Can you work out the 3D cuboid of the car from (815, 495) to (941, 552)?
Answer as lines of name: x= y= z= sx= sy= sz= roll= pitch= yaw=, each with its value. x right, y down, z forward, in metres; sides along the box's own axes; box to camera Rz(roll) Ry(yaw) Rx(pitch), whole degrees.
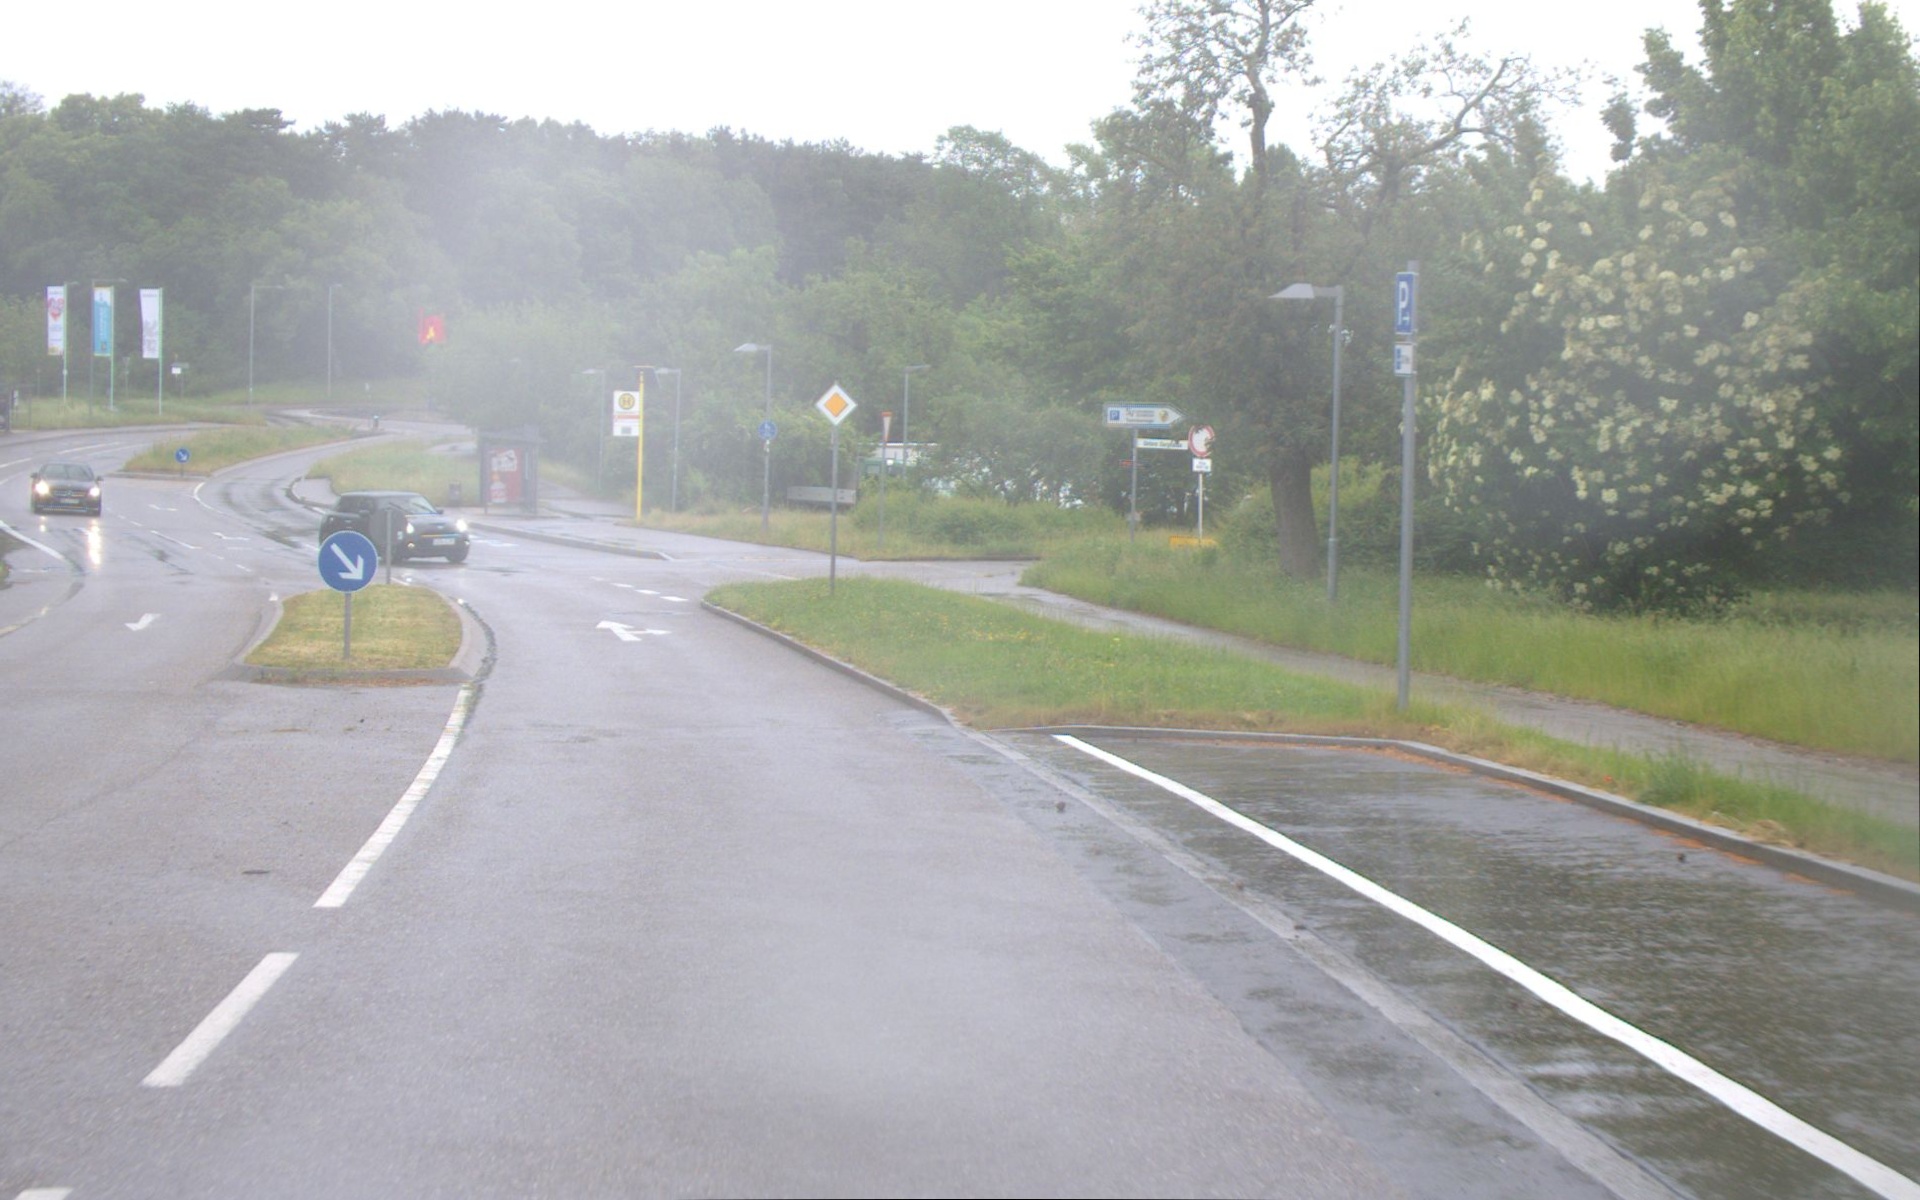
car: x=-2.599 y=-2.404 z=108.628 sx=3.419 sy=1.684 sz=1.996 roll=1 pitch=-2 yaw=34

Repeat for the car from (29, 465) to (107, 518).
car: x=-25.007 y=-3.055 z=96.306 sx=1.967 sy=1.409 sz=4.417 roll=-1 pitch=3 yaw=-16

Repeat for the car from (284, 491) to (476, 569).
car: x=-11.722 y=-1.415 z=69.467 sx=3.526 sy=1.351 sz=1.458 roll=4 pitch=2 yaw=22
